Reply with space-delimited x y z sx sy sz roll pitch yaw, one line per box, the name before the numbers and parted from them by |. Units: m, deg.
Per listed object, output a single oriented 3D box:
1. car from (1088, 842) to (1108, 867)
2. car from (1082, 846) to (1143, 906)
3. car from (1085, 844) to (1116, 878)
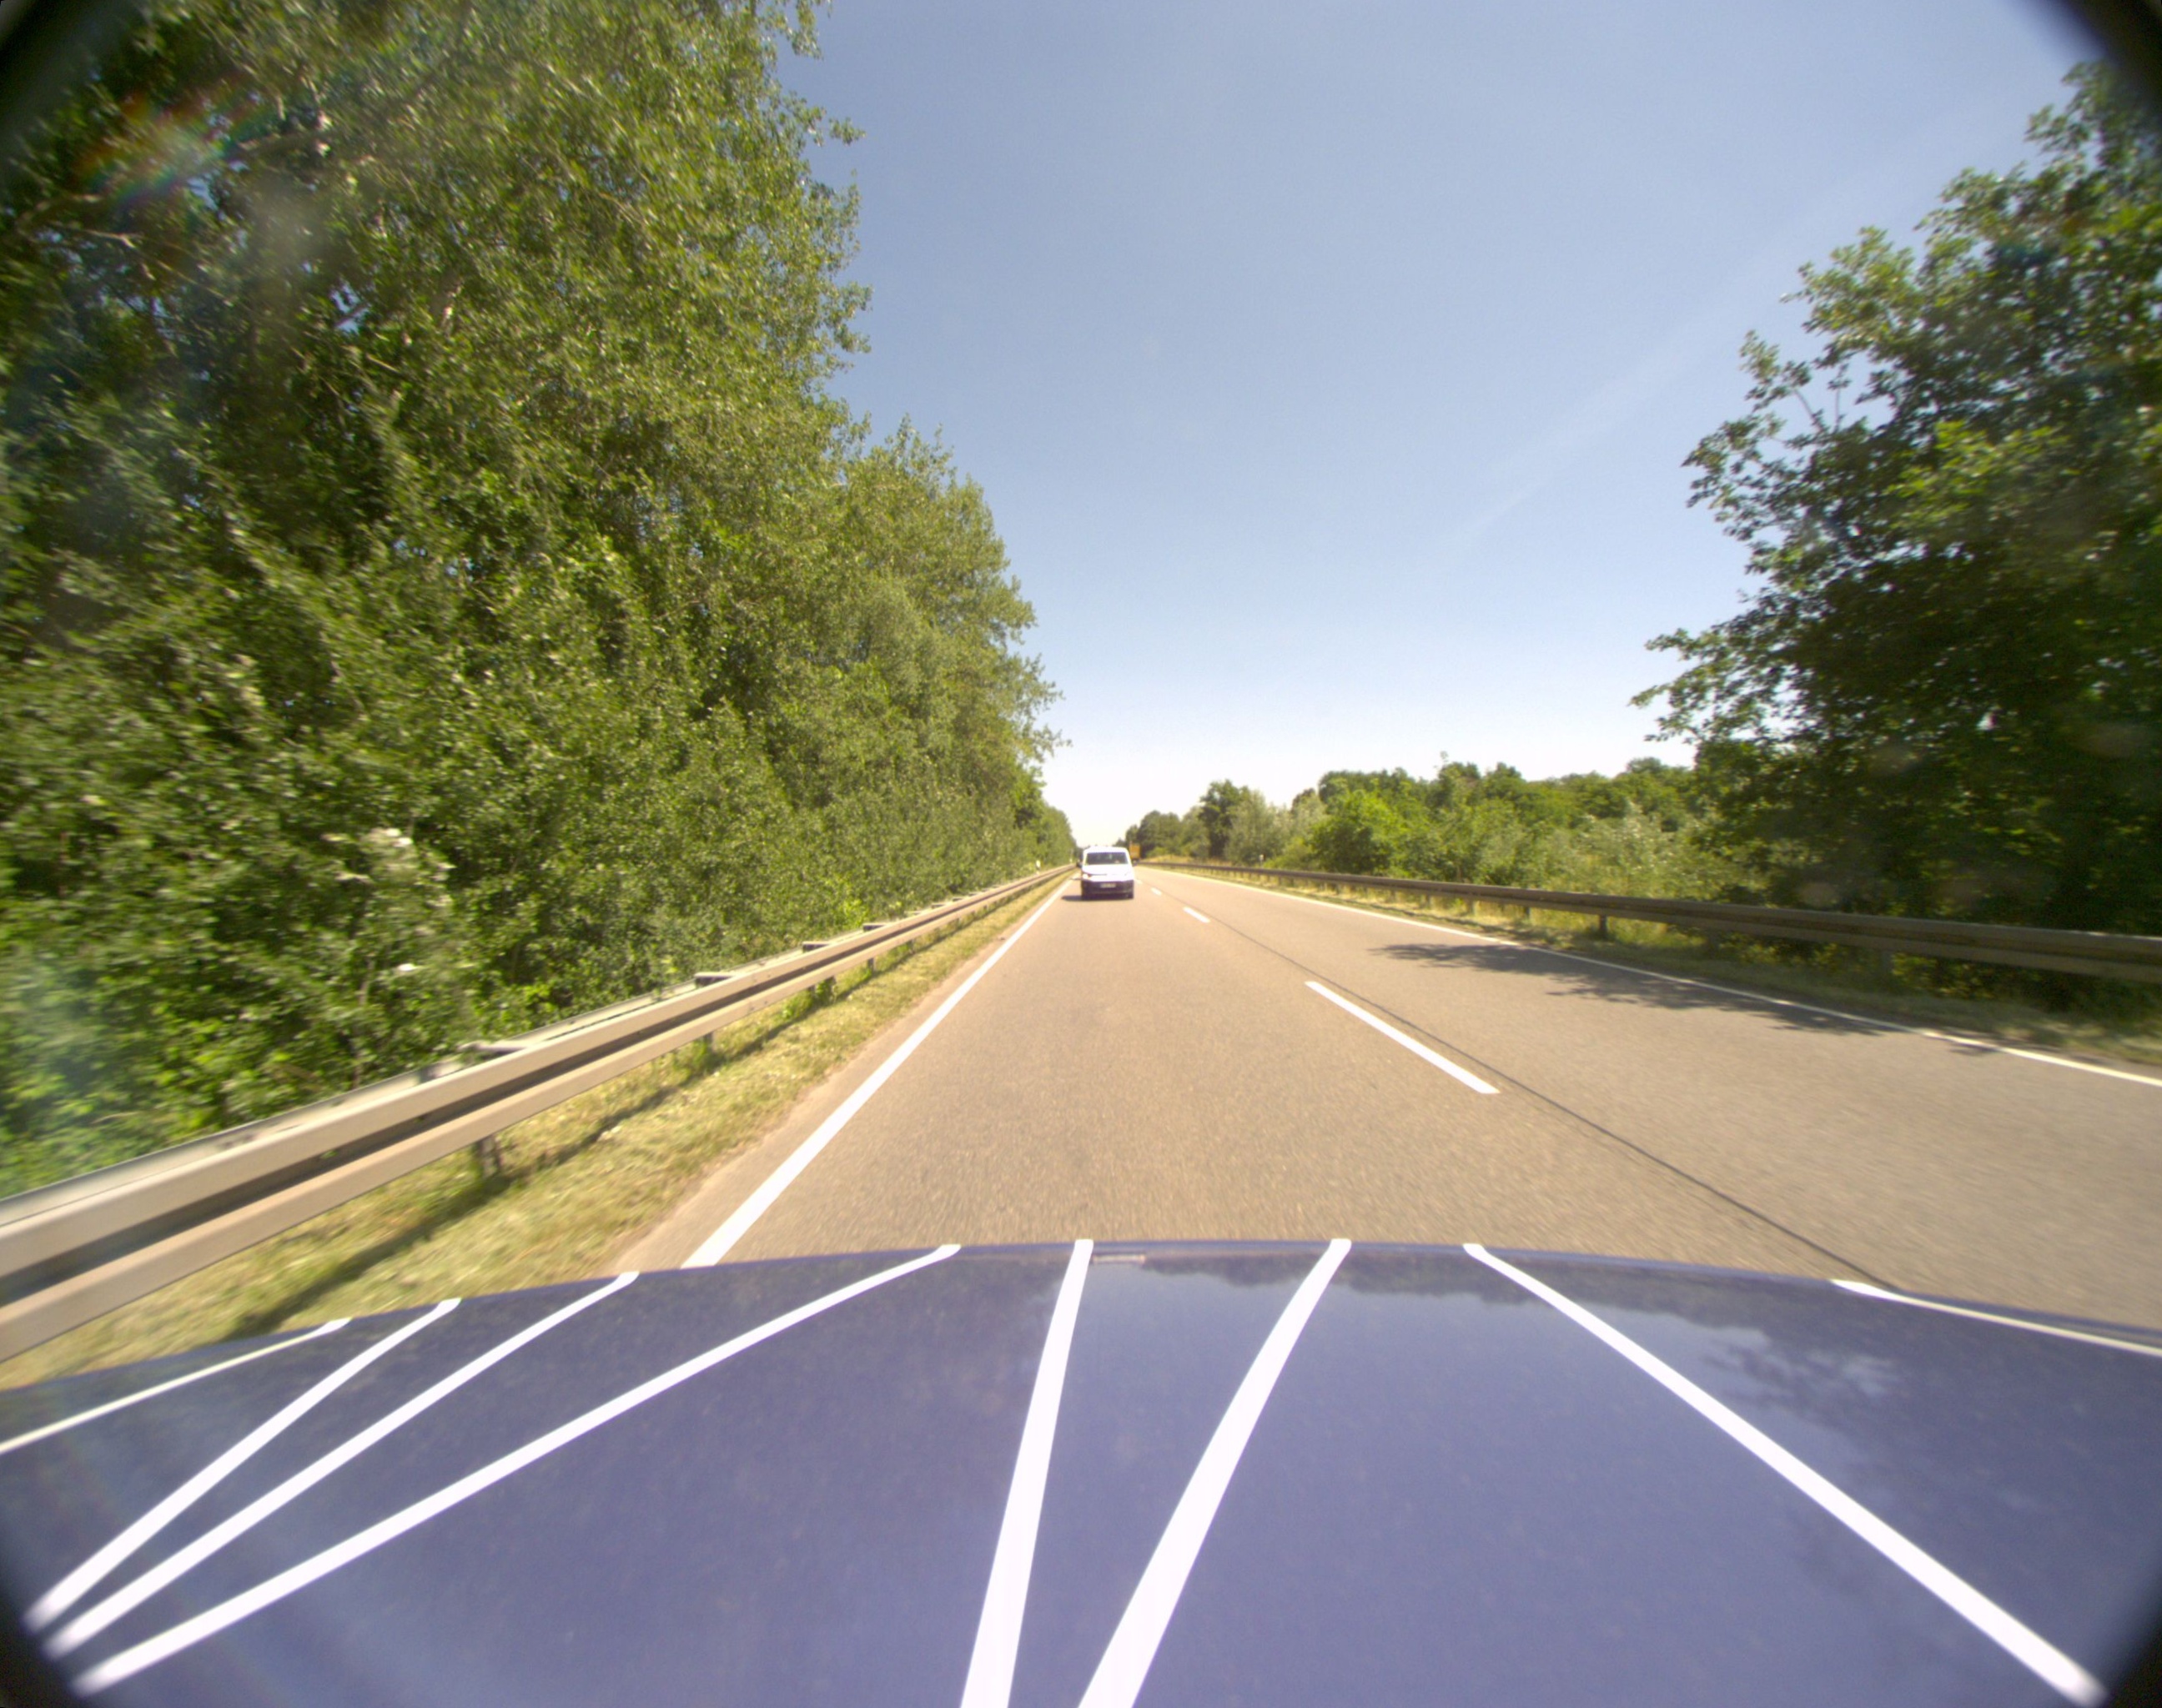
car | 1.650 0.056 72.475 1.782 2.287 4.106 -2 0 1
car | 0.999 0.661 25.204 1.782 1.743 4.512 -2 0 1
car | 1.231 0.431 48.271 1.782 1.960 4.106 -2 0 1
